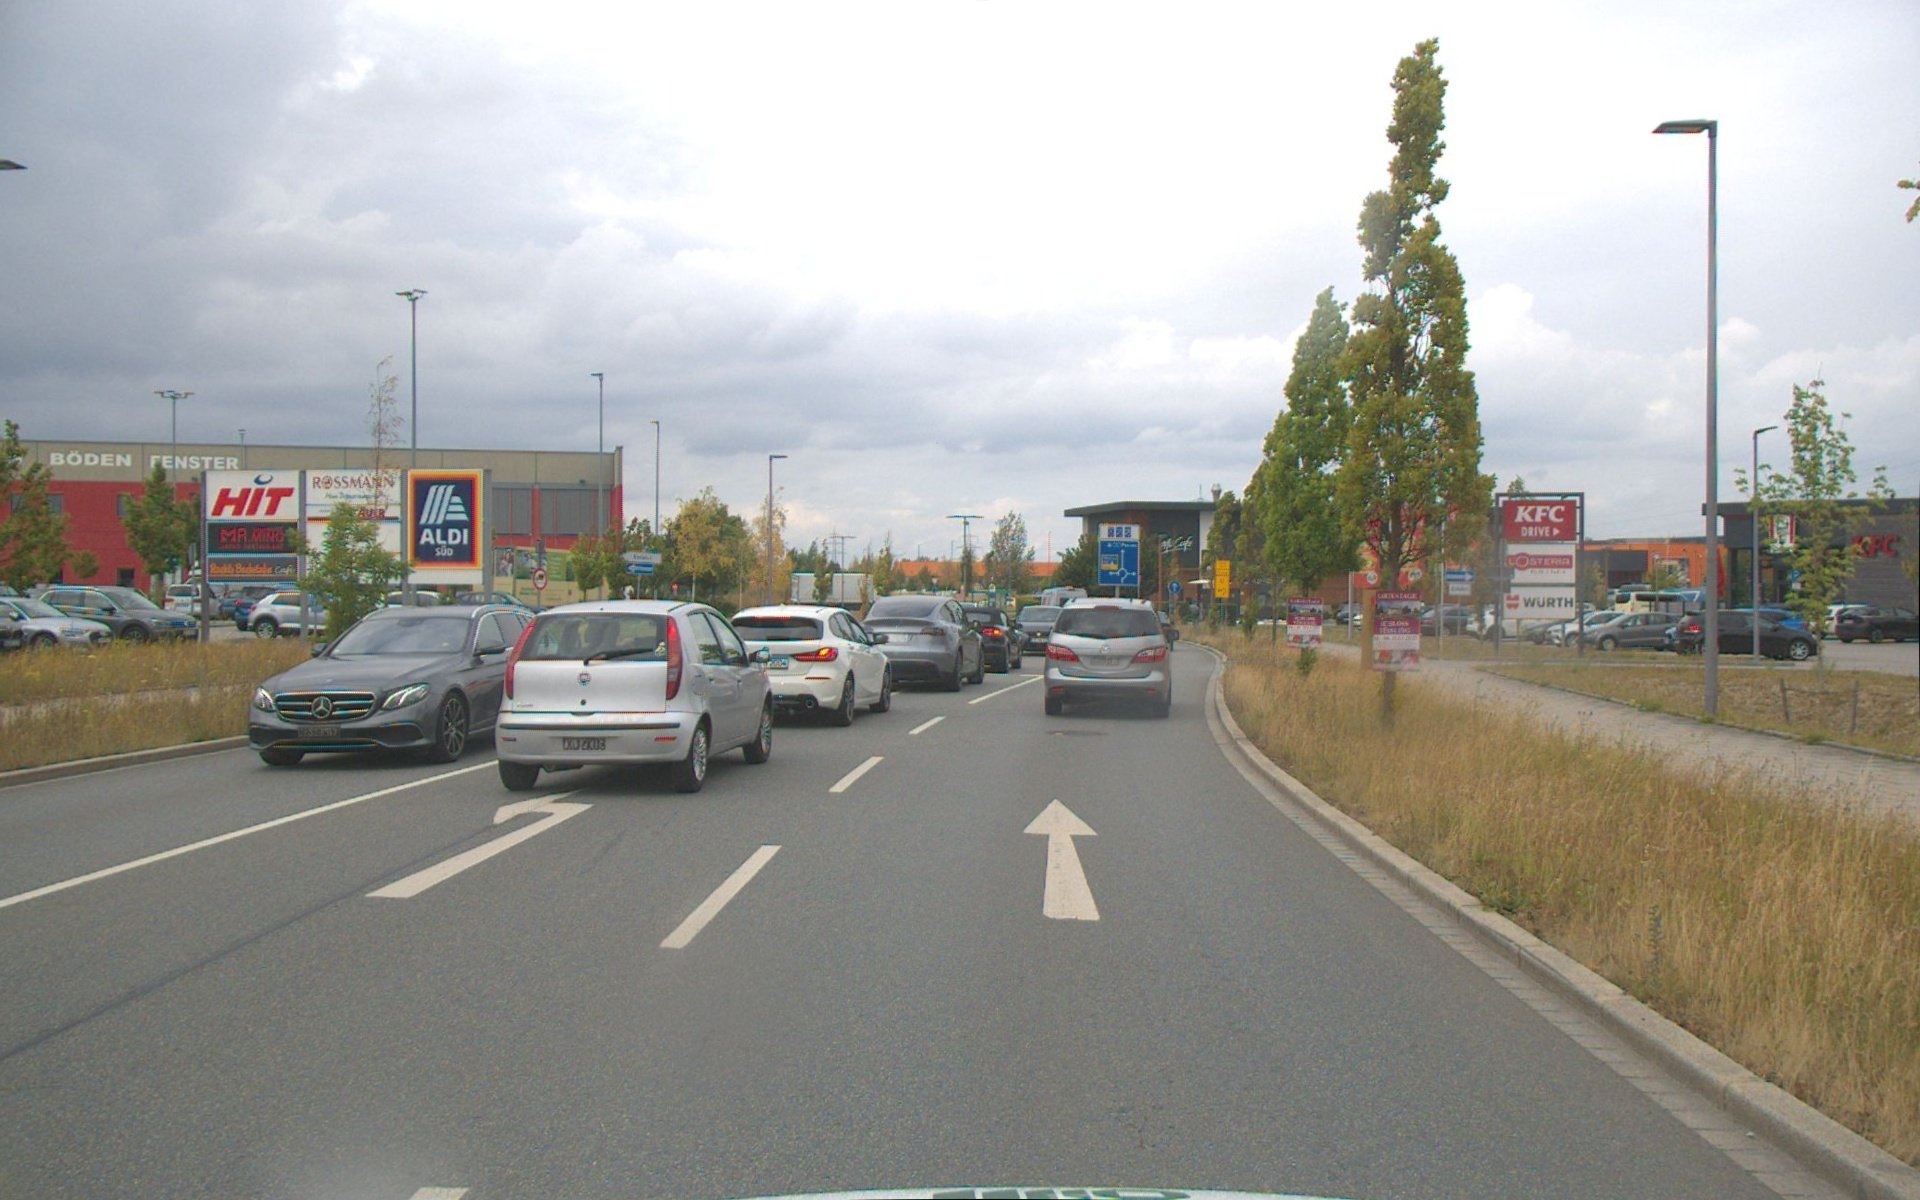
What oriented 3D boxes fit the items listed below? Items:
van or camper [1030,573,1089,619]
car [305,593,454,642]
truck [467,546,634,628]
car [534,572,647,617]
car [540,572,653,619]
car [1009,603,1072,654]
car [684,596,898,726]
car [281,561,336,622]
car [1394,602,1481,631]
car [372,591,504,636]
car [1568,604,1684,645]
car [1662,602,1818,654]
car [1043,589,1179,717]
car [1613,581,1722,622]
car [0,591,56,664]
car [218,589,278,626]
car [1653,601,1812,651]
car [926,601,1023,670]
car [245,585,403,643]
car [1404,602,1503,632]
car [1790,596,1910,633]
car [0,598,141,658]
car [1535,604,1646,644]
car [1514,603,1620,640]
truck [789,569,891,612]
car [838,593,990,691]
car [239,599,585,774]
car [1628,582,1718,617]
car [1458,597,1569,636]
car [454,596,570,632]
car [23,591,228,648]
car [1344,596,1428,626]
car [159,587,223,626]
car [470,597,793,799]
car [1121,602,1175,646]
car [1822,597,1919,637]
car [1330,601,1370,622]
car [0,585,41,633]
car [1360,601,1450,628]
[{"bbox_3d":[5.702,-0.229,95.760,2.261,2.550,5.193,1,0,-10],"label":"van or camper"},{"bbox_3d":[-19.192,0.572,54.773,4.152,1.540,2.048,1,0,8],"label":"car"},{"bbox_3d":[-18.763,-0.561,76.430,2.793,3.603,8.422,1,0,25],"label":"truck"},{"bbox_3d":[-20.166,-0.288,90.394,5.962,2.347,2.203,0,0,-13],"label":"car"},{"bbox_3d":[-20.892,-0.235,95.359,6.293,2.644,2.237,0,0,-12],"label":"car"},{"bbox_3d":[2.417,0.827,49.475,1.791,1.445,4.247,0,0,3],"label":"car"},{"bbox_3d":[-2.043,0.719,21.257,1.840,1.494,4.196,0,0,7],"label":"car"},{"bbox_3d":[-30.433,-0.409,77.352,2.026,2.737,5.120,0,0,-18],"label":"car"},{"bbox_3d":[25.158,0.859,87.159,4.009,1.463,1.939,-1,0,-9],"label":"car"},{"bbox_3d":[-18.914,0.475,60.064,4.161,1.586,1.988,0,0,-2],"label":"car"},{"bbox_3d":[25.113,0.919,62.461,3.679,1.520,1.891,0,0,4],"label":"car"},{"bbox_3d":[23.604,0.832,50.187,3.902,1.520,1.983,0,0,9],"label":"car"},{"bbox_3d":[2.229,0.698,23.611,1.693,1.628,3.810,1,0,9],"label":"car"},{"bbox_3d":[42.619,0.081,99.674,5.569,2.392,2.530,0,0,-10],"label":"car"},{"bbox_3d":[-22.262,0.577,35.752,4.272,1.531,2.241,0,0,8],"label":"car"},{"bbox_3d":[-32.862,0.316,76.439,1.960,1.635,3.985,0,0,-14],"label":"car"},{"bbox_3d":[24.539,0.817,52.679,4.171,1.546,1.967,0,0,7],"label":"car"},{"bbox_3d":[0.391,0.777,37.303,1.731,1.463,4.234,0,-1,7],"label":"car"},{"bbox_3d":[-20.033,0.439,52.178,4.153,1.753,2.029,0,0,3],"label":"car"},{"bbox_3d":[25.097,0.851,84.180,4.432,1.494,2.029,0,0,-8],"label":"car"},{"bbox_3d":[39.819,0.618,74.022,4.481,1.545,2.075,-1,0,-12],"label":"car"},{"bbox_3d":[-21.750,0.635,38.662,4.222,1.363,2.028,0,0,4],"label":"car"},{"bbox_3d":[25.609,0.960,67.254,3.781,1.507,1.903,-1,0,3],"label":"car"},{"bbox_3d":[26.424,0.934,72.129,3.904,1.511,1.940,-1,-1,1],"label":"car"},{"bbox_3d":[-11.304,-0.904,155.841,9.166,3.975,3.125,0,0,-20],"label":"truck"},{"bbox_3d":[-0.715,0.680,29.486,1.951,1.588,4.617,0,0,8],"label":"car"},{"bbox_3d":[-5.427,0.771,17.106,1.748,1.515,4.769,-1,0,3],"label":"car"},{"bbox_3d":[53.666,-0.068,124.513,5.925,2.573,2.273,0,0,36],"label":"car"},{"bbox_3d":[25.793,0.772,77.168,4.470,1.674,2.087,-1,0,-3],"label":"car"},{"bbox_3d":[-18.288,0.569,67.634,4.144,1.460,1.998,0,0,1],"label":"car"},{"bbox_3d":[-21.476,0.476,42.655,4.264,1.415,2.167,0,0,9],"label":"car"},{"bbox_3d":[24.351,0.602,94.580,4.272,1.668,1.931,0,0,-13],"label":"car"},{"bbox_3d":[-35.363,0.265,76.138,1.960,1.759,3.985,0,0,-14],"label":"car"},{"bbox_3d":[-2.636,0.716,14.230,1.666,1.463,4.035,0,0,5],"label":"car"},{"bbox_3d":[6.570,0.807,57.996,1.805,1.443,4.228,0,0,6],"label":"car"},{"bbox_3d":[38.482,0.682,68.795,4.484,1.545,1.970,-1,0,-14],"label":"car"},{"bbox_3d":[24.958,0.725,105.727,1.775,1.336,3.847,0,0,24],"label":"car"},{"bbox_3d":[-33.610,0.300,57.596,1.817,1.635,3.985,0,0,-14],"label":"car"},{"bbox_3d":[24.753,0.798,92.095,4.387,1.461,2.068,0,0,-11],"label":"car"}]
